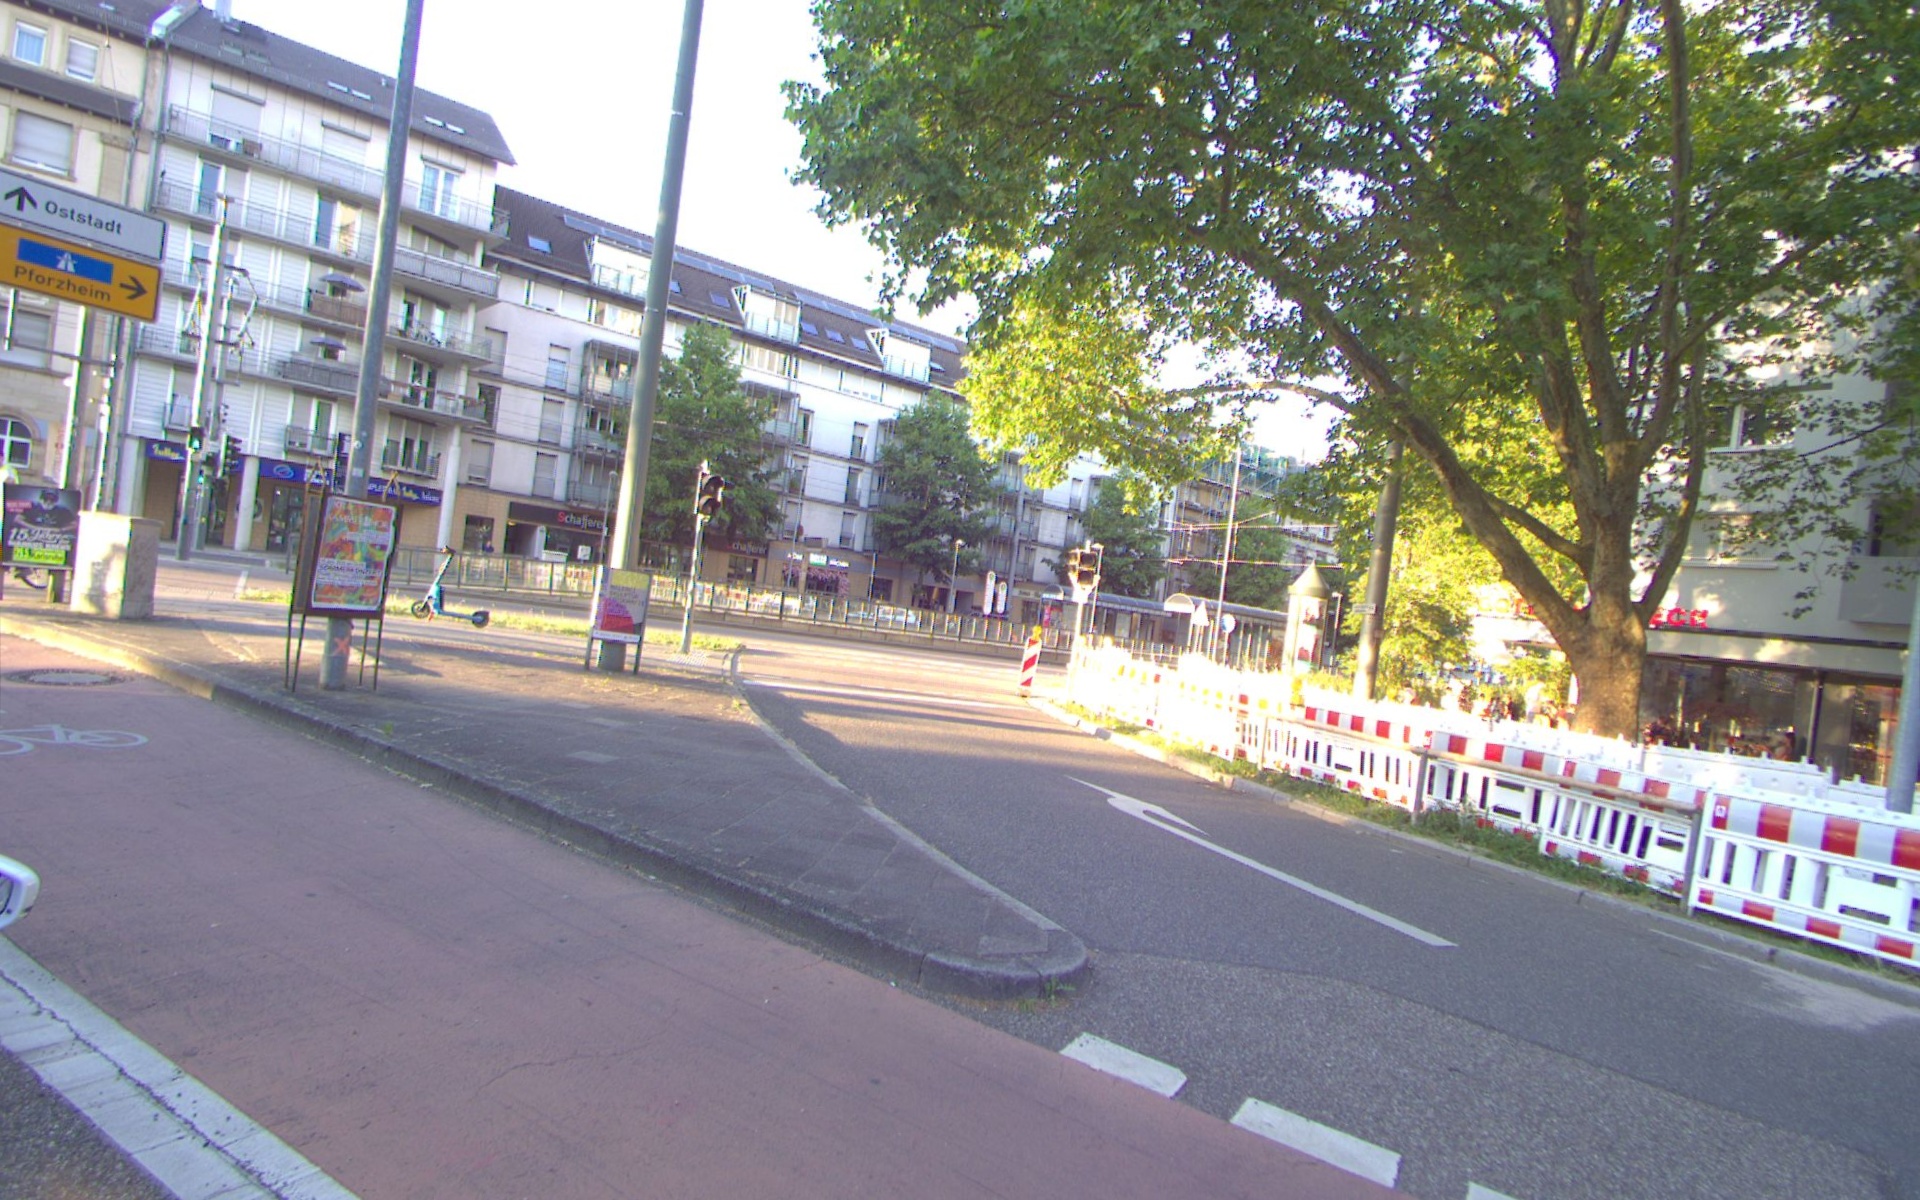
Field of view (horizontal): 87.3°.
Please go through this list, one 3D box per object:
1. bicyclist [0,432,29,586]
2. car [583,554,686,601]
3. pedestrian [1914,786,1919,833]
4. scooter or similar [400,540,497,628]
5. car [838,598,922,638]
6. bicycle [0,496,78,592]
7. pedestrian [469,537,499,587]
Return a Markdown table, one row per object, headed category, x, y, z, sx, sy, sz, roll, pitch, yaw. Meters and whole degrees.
| category | x | y | z | sx | sy | sz | roll | pitch | yaw |
| --- | --- | --- | --- | --- | --- | --- | --- | --- | --- |
| bicyclist | -11.925 | -1.144 | 12.068 | 0.617 | 1.845 | 0.699 | 7 | -1 | 0 |
| car | -14.818 | -1.024 | 45.836 | 3.970 | 1.503 | 1.830 | 9 | -2 | -39 |
| pedestrian | 15.723 | 2.953 | 15.815 | 0.733 | 1.607 | 0.641 | 7 | -1 | 25 |
| scooter or similar | -8.357 | -0.254 | 16.493 | 1.217 | 1.264 | 0.513 | 8 | -1 | -19 |
| car | -4.220 | 0.962 | 53.383 | 3.964 | 1.503 | 1.833 | 9 | -2 | -34 |
| bicycle | -11.972 | -0.742 | 12.186 | 0.617 | 1.122 | 2.073 | 7 | -2 | 0 |
| pedestrian | -22.196 | -1.777 | 46.928 | 0.864 | 2.235 | 0.812 | 8 | -1 | -39 |
